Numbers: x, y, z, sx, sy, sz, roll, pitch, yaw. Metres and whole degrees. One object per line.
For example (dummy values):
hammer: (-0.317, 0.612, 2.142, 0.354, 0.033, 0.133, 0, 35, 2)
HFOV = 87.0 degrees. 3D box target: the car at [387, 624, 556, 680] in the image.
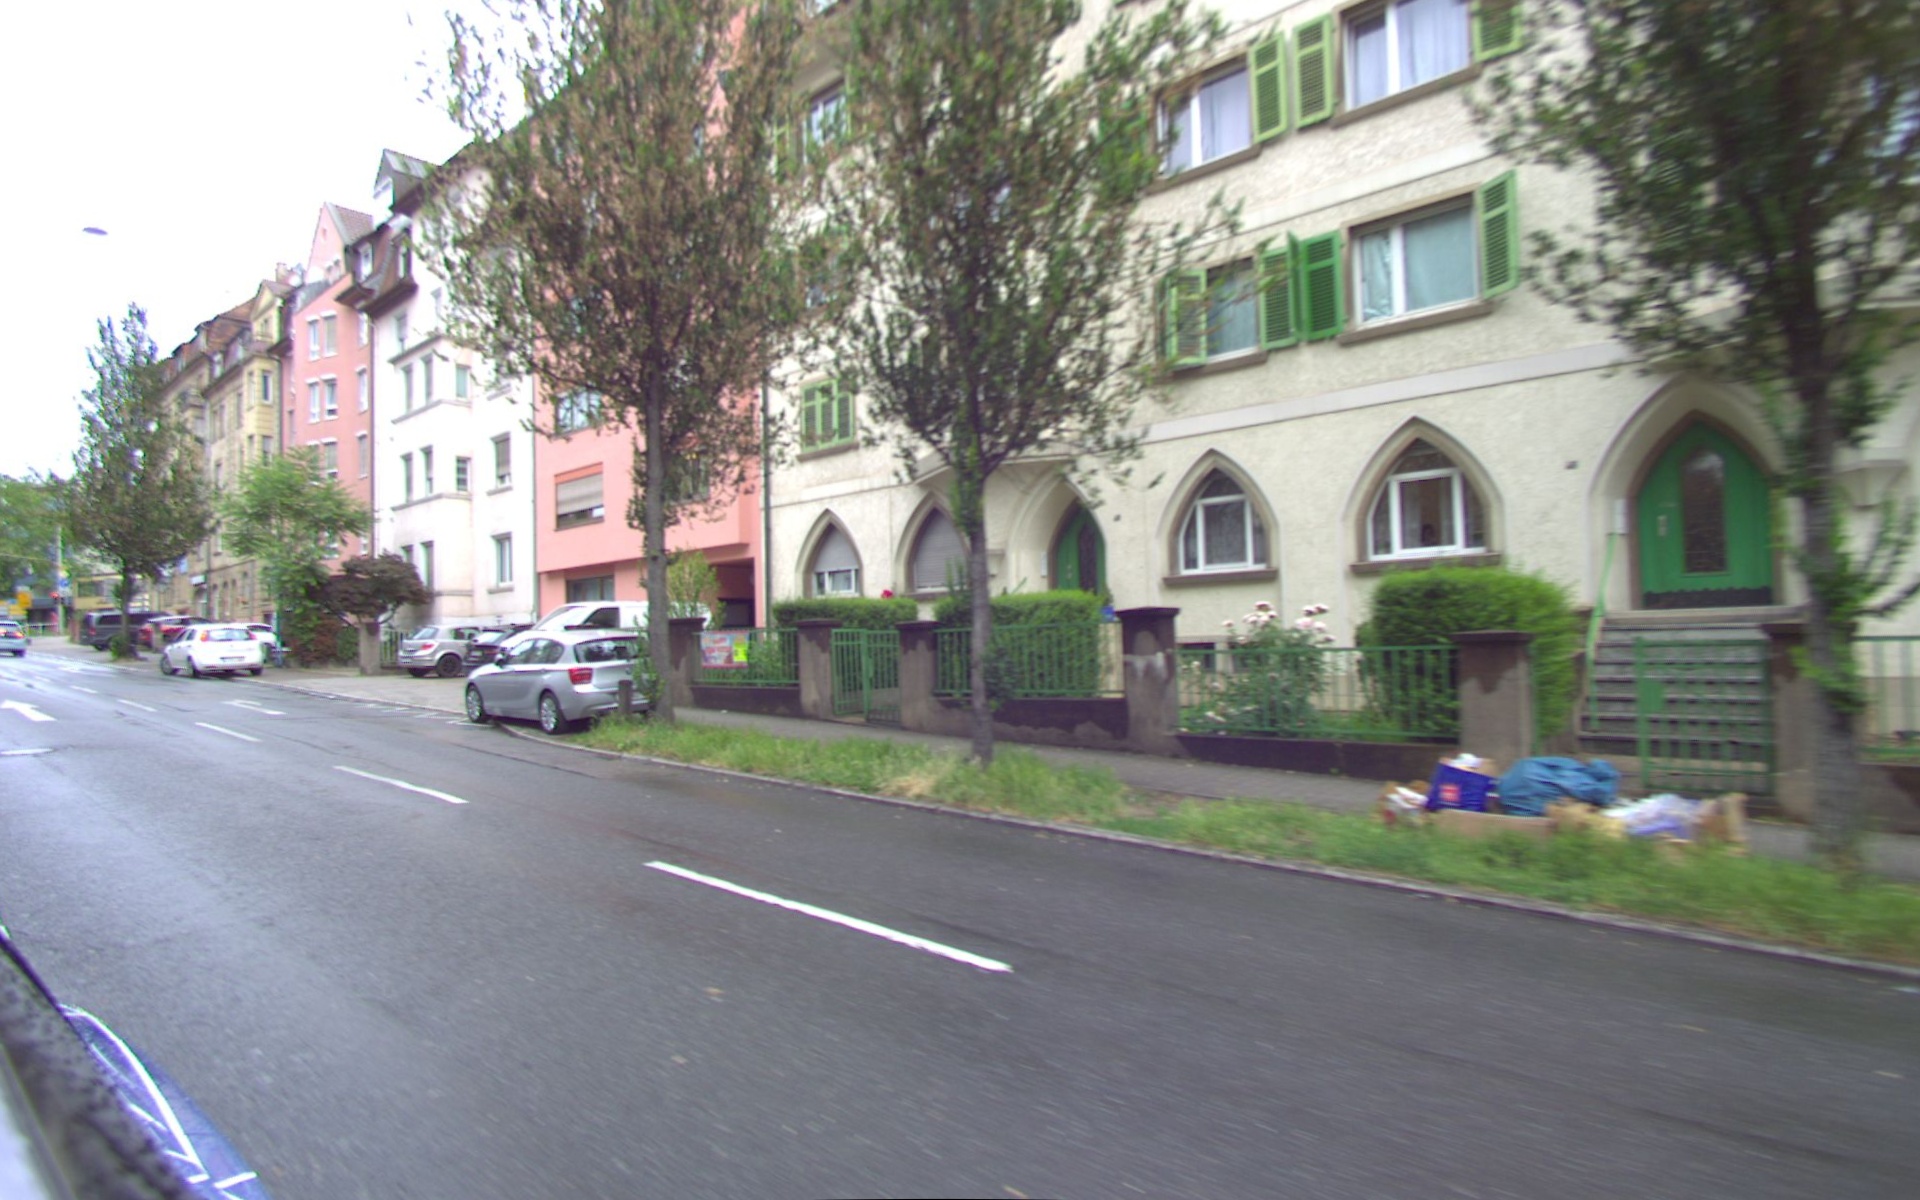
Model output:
car: (-13.487, 1.386, 28.109, 1.722, 1.408, 3.885, 0, -1, 35)

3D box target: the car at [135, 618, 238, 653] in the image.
car: (-38.575, 1.750, 50.520, 1.592, 1.634, 3.877, -1, -1, 42)

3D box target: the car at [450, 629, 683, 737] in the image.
car: (-6.153, 1.169, 15.615, 4.136, 1.428, 1.663, -1, -2, 42)

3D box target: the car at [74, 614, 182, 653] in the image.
car: (-41.504, 1.631, 50.552, 1.865, 1.861, 3.880, -1, -1, 39)

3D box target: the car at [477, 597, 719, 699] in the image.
car: (-7.799, 0.941, 22.198, 1.917, 1.919, 4.672, 0, 1, 39)

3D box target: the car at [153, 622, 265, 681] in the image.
car: (-21.486, 1.425, 28.901, 3.647, 1.483, 1.649, 0, 1, 38)

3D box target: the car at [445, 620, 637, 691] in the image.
car: (-9.935, 1.249, 24.202, 1.758, 1.408, 3.880, 0, 1, 39)

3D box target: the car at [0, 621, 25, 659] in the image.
car: (-42.100, 1.727, 44.026, 3.651, 1.560, 1.749, 0, 1, 41)

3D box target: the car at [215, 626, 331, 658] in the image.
car: (-29.767, 1.787, 43.927, 1.646, 1.307, 3.877, -1, -1, 42)
